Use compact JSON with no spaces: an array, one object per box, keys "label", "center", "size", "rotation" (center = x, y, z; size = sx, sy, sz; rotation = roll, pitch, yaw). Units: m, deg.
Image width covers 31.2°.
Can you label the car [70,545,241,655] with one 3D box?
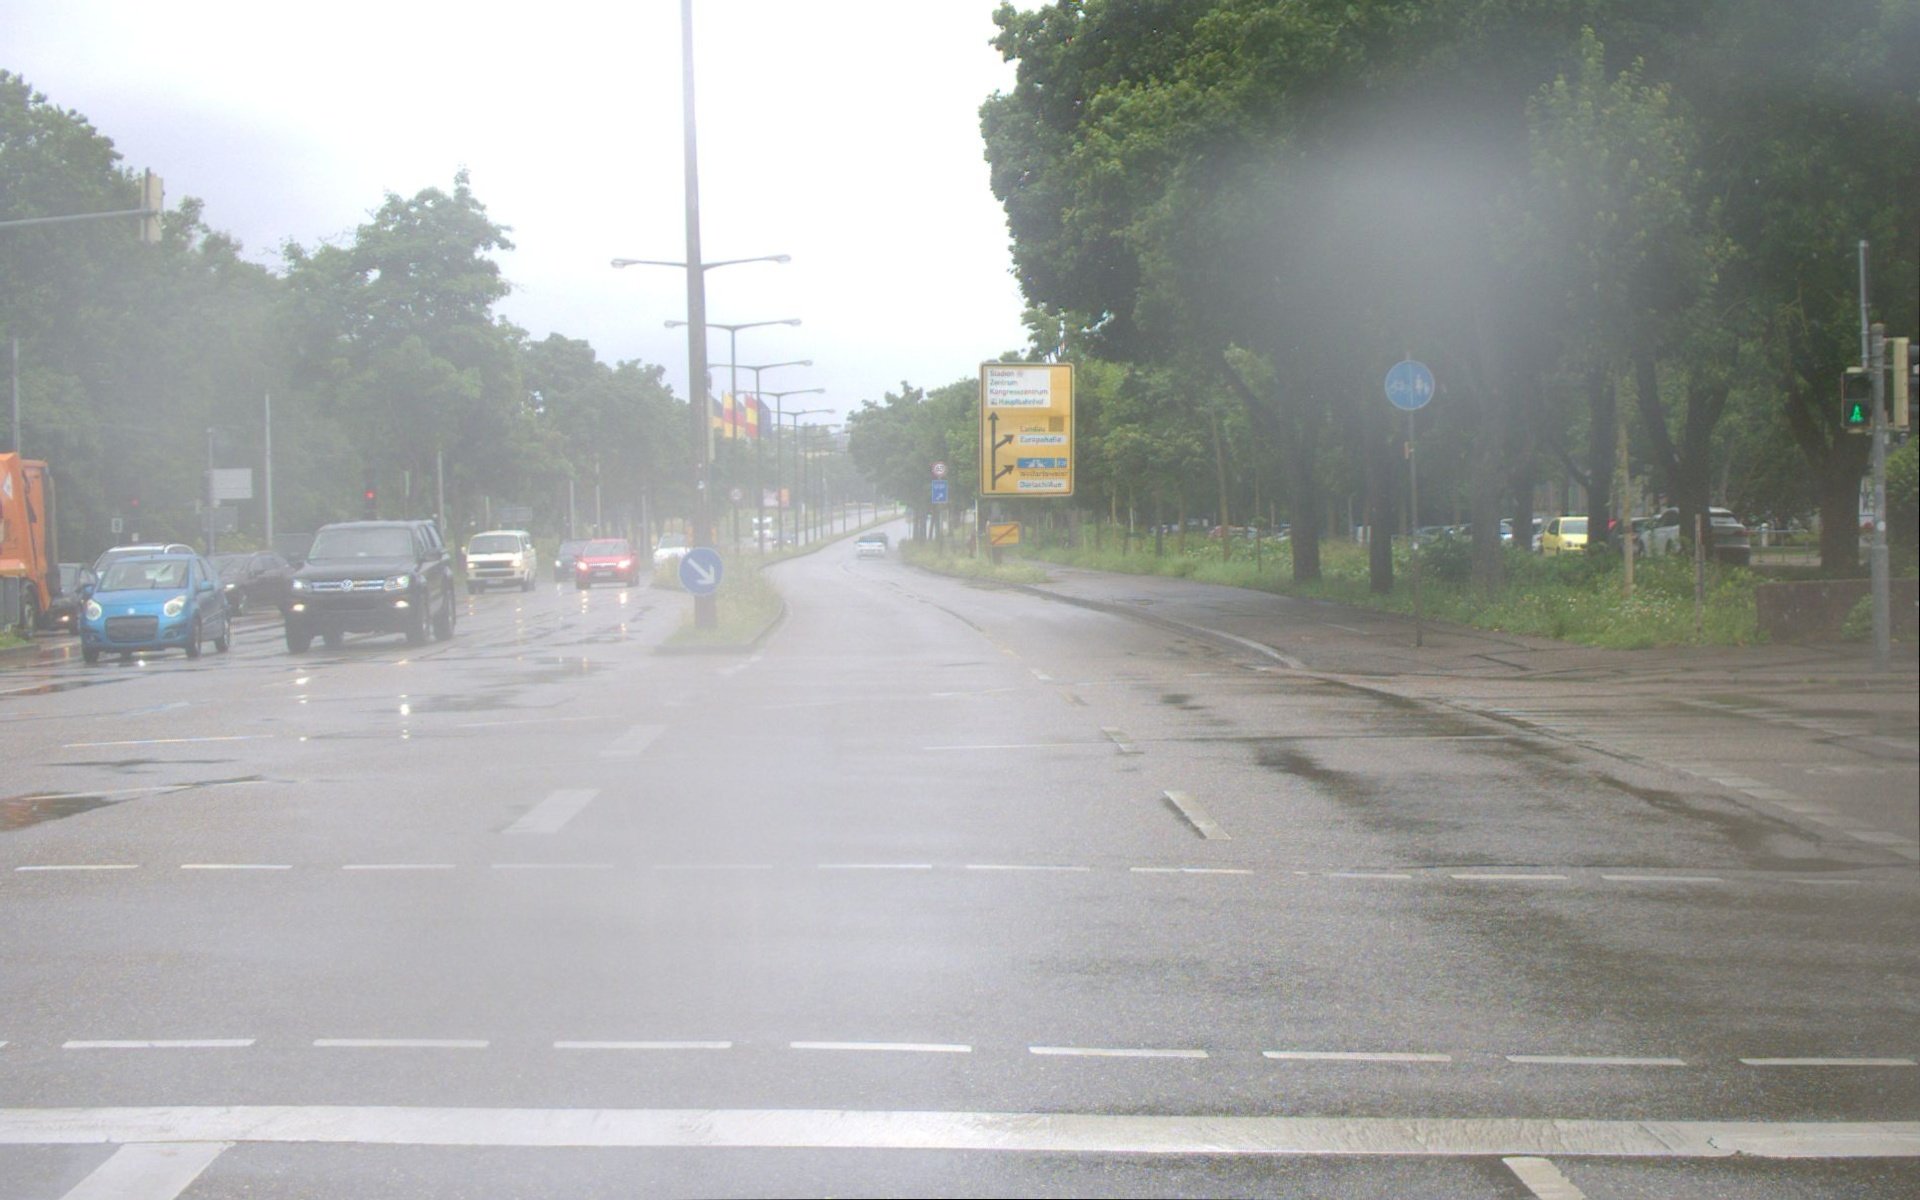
[{"label":"car","center":[-11.387,-0.026,48.886],"size":[1.641,1.422,4.001],"rotation":[-3,1,-3]}]

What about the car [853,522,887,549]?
[{"label":"car","center":[-5.230,-3.777,200.420],"size":[1.907,1.509,4.000],"rotation":[-1,1,-1]}]

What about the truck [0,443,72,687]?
[{"label":"truck","center":[-17.981,-0.614,58.290],"size":[3.384,4.153,10.407],"rotation":[1,1,-2]}]

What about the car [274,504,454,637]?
[{"label":"car","center":[-8.585,-0.465,49.936],"size":[1.805,1.767,5.090],"rotation":[-2,1,-2]}]

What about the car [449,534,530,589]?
[{"label":"car","center":[-14.321,-1.198,104.813],"size":[1.894,1.605,4.500],"rotation":[-1,1,-1]}]

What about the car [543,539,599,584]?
[{"label":"car","center":[-15.449,-1.547,136.619],"size":[1.707,1.636,4.331],"rotation":[-3,1,-1]}]

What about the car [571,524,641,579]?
[{"label":"car","center":[-10.869,-1.478,105.905],"size":[1.801,1.564,4.429],"rotation":[-2,0,-2]}]

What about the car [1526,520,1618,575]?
[{"label":"car","center":[17.361,-1.485,97.673],"size":[1.637,1.481,4.073],"rotation":[1,1,-4]}]

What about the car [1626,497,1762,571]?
[{"label":"car","center":[17.960,-1.602,84.327],"size":[1.993,1.711,4.879],"rotation":[-2,1,-3]}]

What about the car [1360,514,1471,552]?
[{"label":"car","center":[20.494,-3.012,154.841],"size":[4.568,1.639,2.000],"rotation":[1,1,-7]}]
